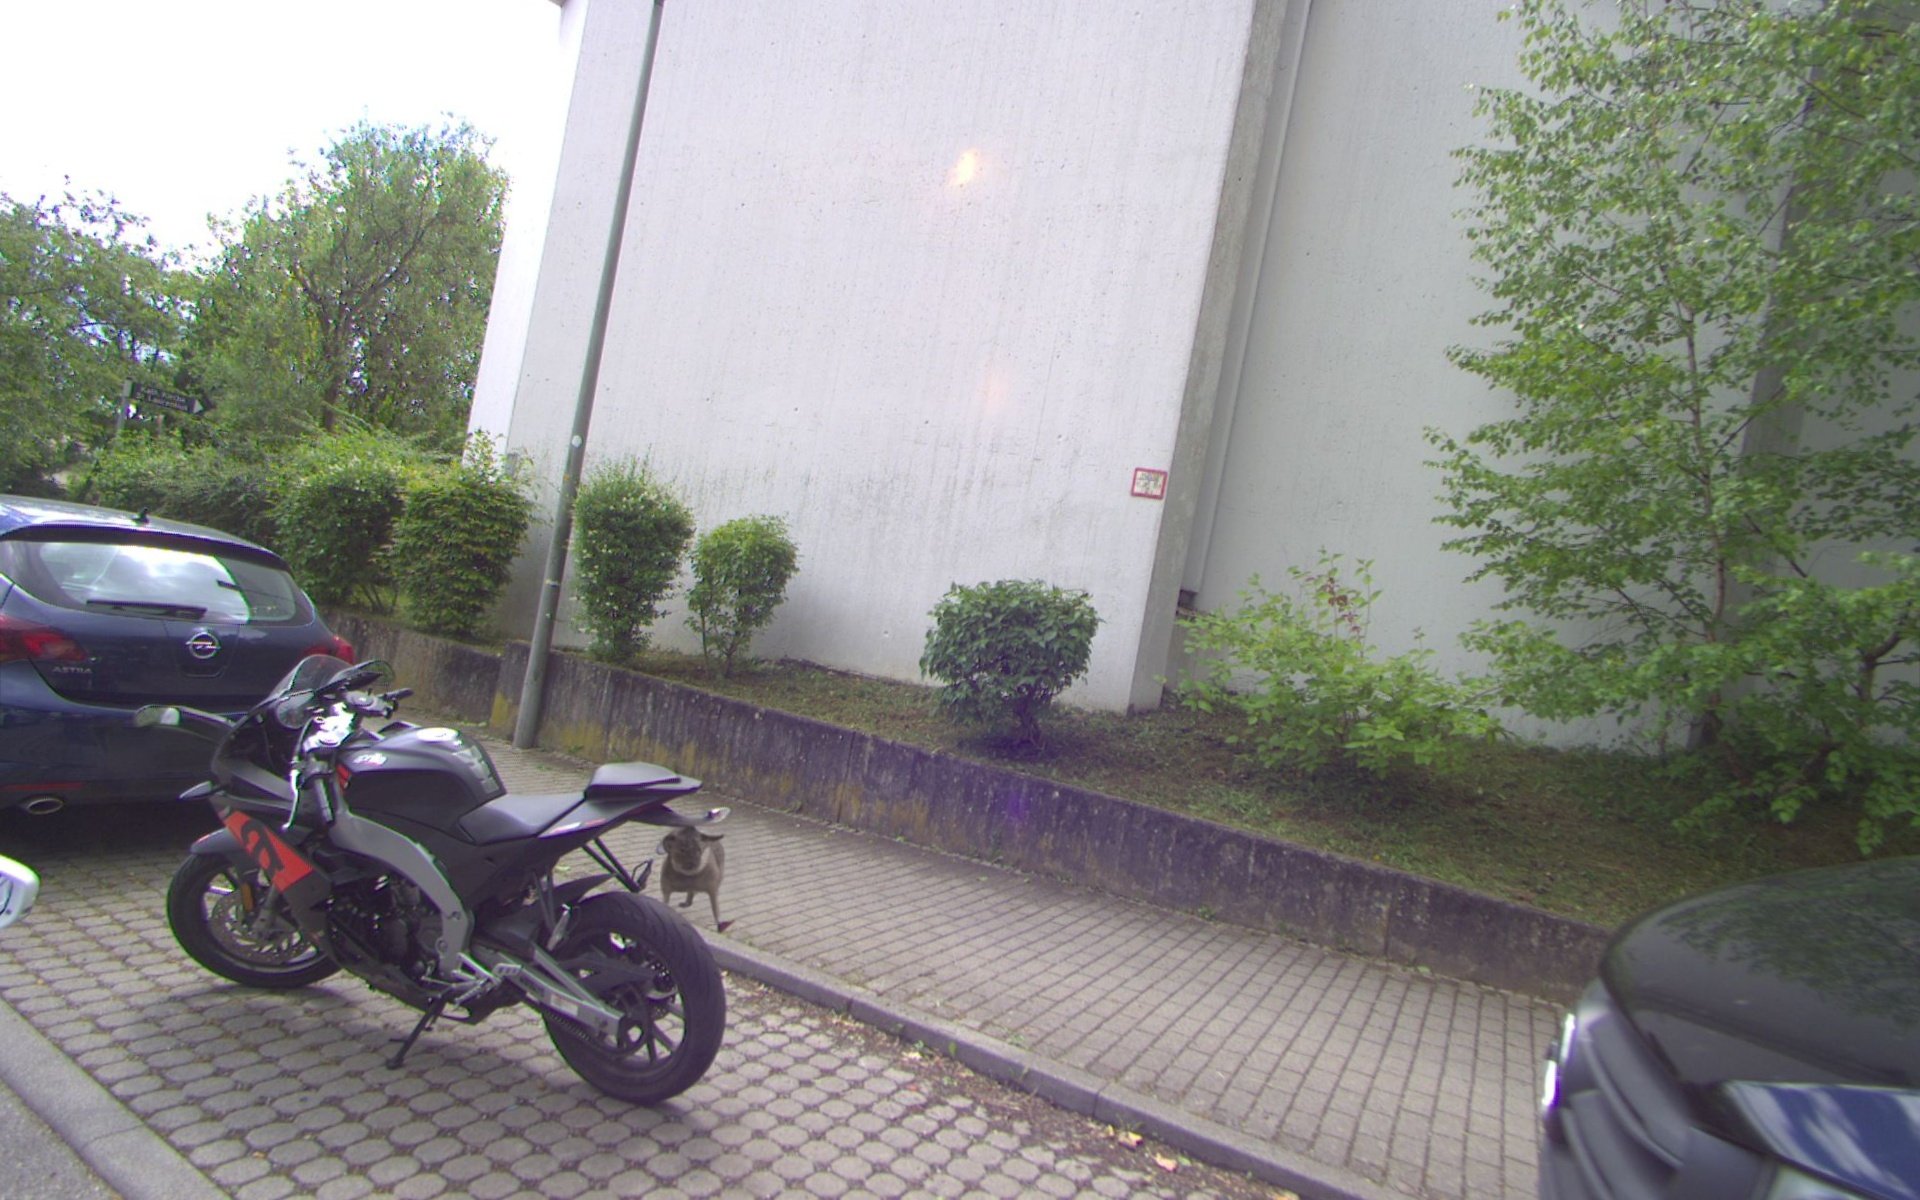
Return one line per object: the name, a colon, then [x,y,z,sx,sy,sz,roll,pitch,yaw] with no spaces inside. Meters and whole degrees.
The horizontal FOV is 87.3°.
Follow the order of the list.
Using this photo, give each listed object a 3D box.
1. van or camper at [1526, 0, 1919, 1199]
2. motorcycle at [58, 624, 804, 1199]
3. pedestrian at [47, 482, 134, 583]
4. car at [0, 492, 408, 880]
van or camper: [3.451,0.536,0.202,5.663,2.524,1.997,6,-2,32]
motorcycle: [-1.526,0.741,2.928,1.894,1.080,0.710,7,-1,19]
pedestrian: [-16.421,-1.264,19.004,0.772,1.757,0.835,7,-1,26]
car: [-4.929,0.177,5.219,3.932,1.437,1.695,7,-1,30]
